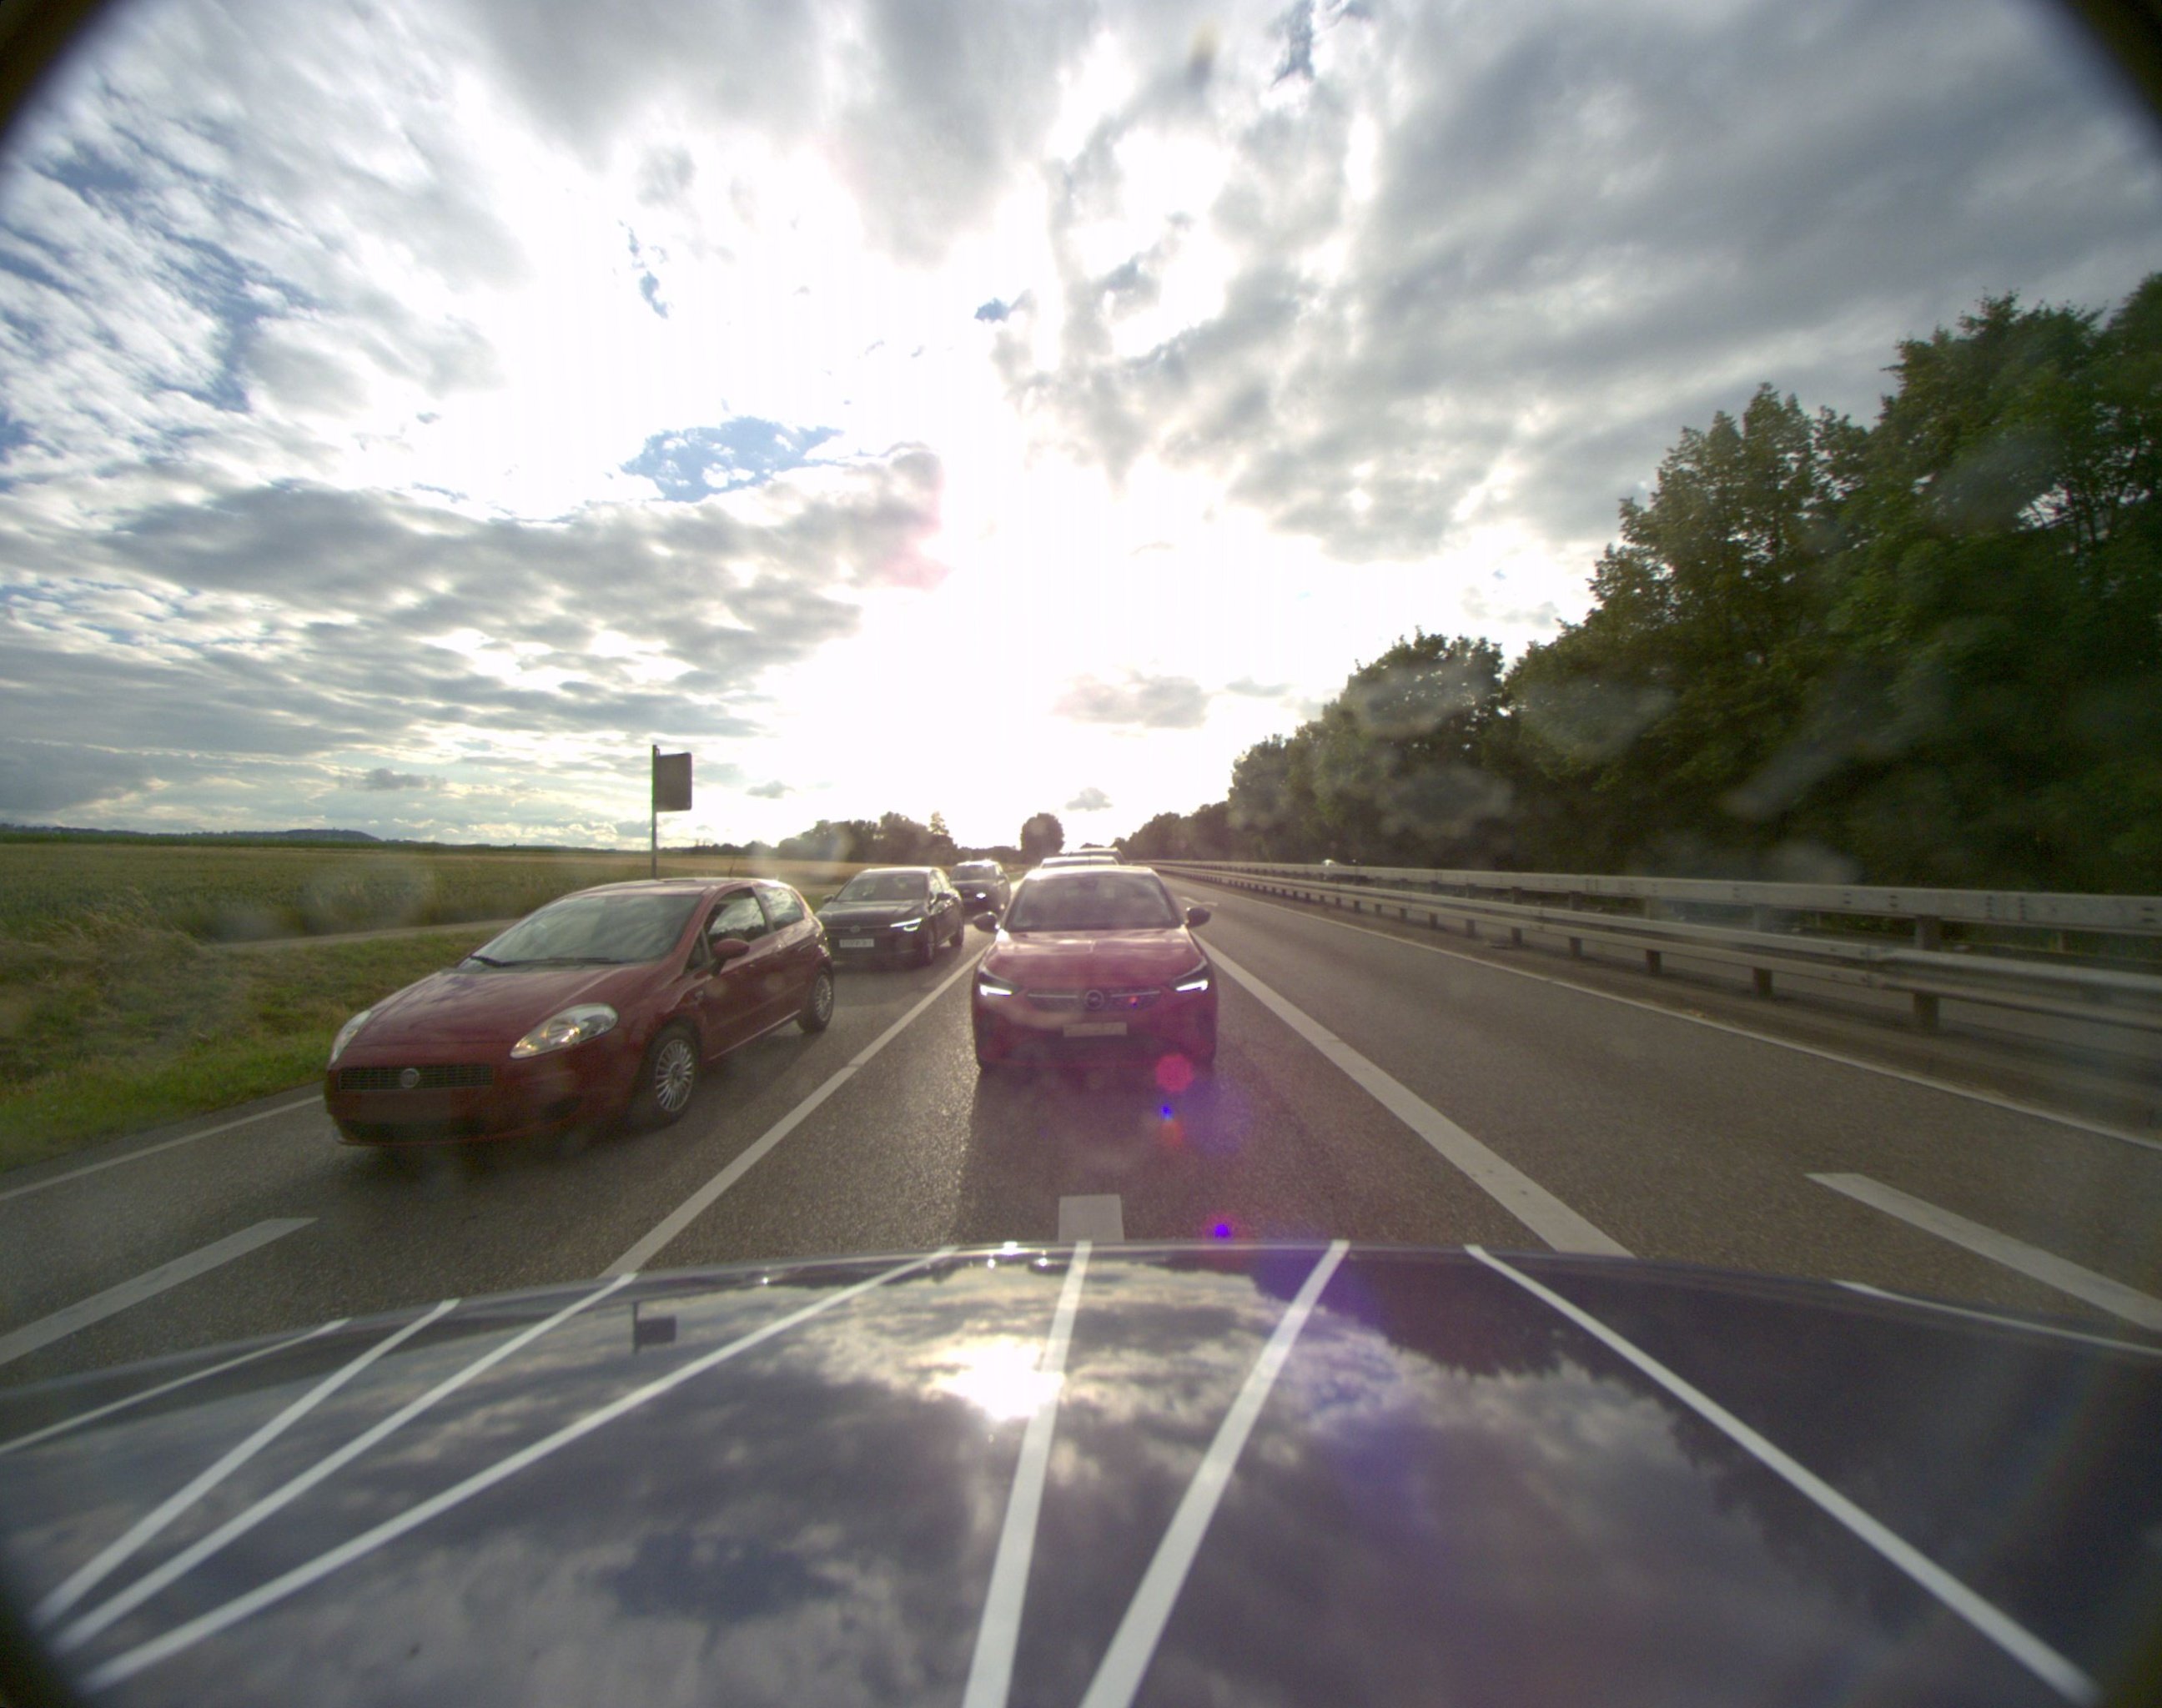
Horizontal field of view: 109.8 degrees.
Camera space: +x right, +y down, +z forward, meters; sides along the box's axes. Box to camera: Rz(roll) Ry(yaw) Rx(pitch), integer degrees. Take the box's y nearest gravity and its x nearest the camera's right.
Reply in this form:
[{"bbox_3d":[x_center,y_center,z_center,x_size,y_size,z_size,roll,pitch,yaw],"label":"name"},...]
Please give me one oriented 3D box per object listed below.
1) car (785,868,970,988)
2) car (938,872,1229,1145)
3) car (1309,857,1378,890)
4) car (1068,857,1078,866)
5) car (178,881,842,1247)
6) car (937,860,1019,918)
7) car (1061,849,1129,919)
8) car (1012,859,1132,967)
[{"bbox_3d":[-3.050,1.042,12.324,1.799,1.448,4.032,-2,1,1],"label":"car"},{"bbox_3d":[0.045,0.991,6.643,1.712,1.448,4.061,-2,1,1],"label":"car"},{"bbox_3d":[13.410,0.962,39.102,1.920,1.448,4.372,-2,1,-2],"label":"car"},{"bbox_3d":[-1.438,1.369,144.372,1.751,1.550,3.731,-2,1,1],"label":"car"},{"bbox_3d":[-3.244,1.043,5.461,1.712,1.448,3.908,-2,1,1],"label":"car"},{"bbox_3d":[-3.005,0.987,22.979,1.799,1.448,4.032,-2,1,1],"label":"car"},{"bbox_3d":[0.395,0.755,21.427,1.671,1.730,4.032,-2,1,1],"label":"car"},{"bbox_3d":[-0.106,0.888,13.280,1.712,1.448,4.061,-2,1,1],"label":"car"}]
